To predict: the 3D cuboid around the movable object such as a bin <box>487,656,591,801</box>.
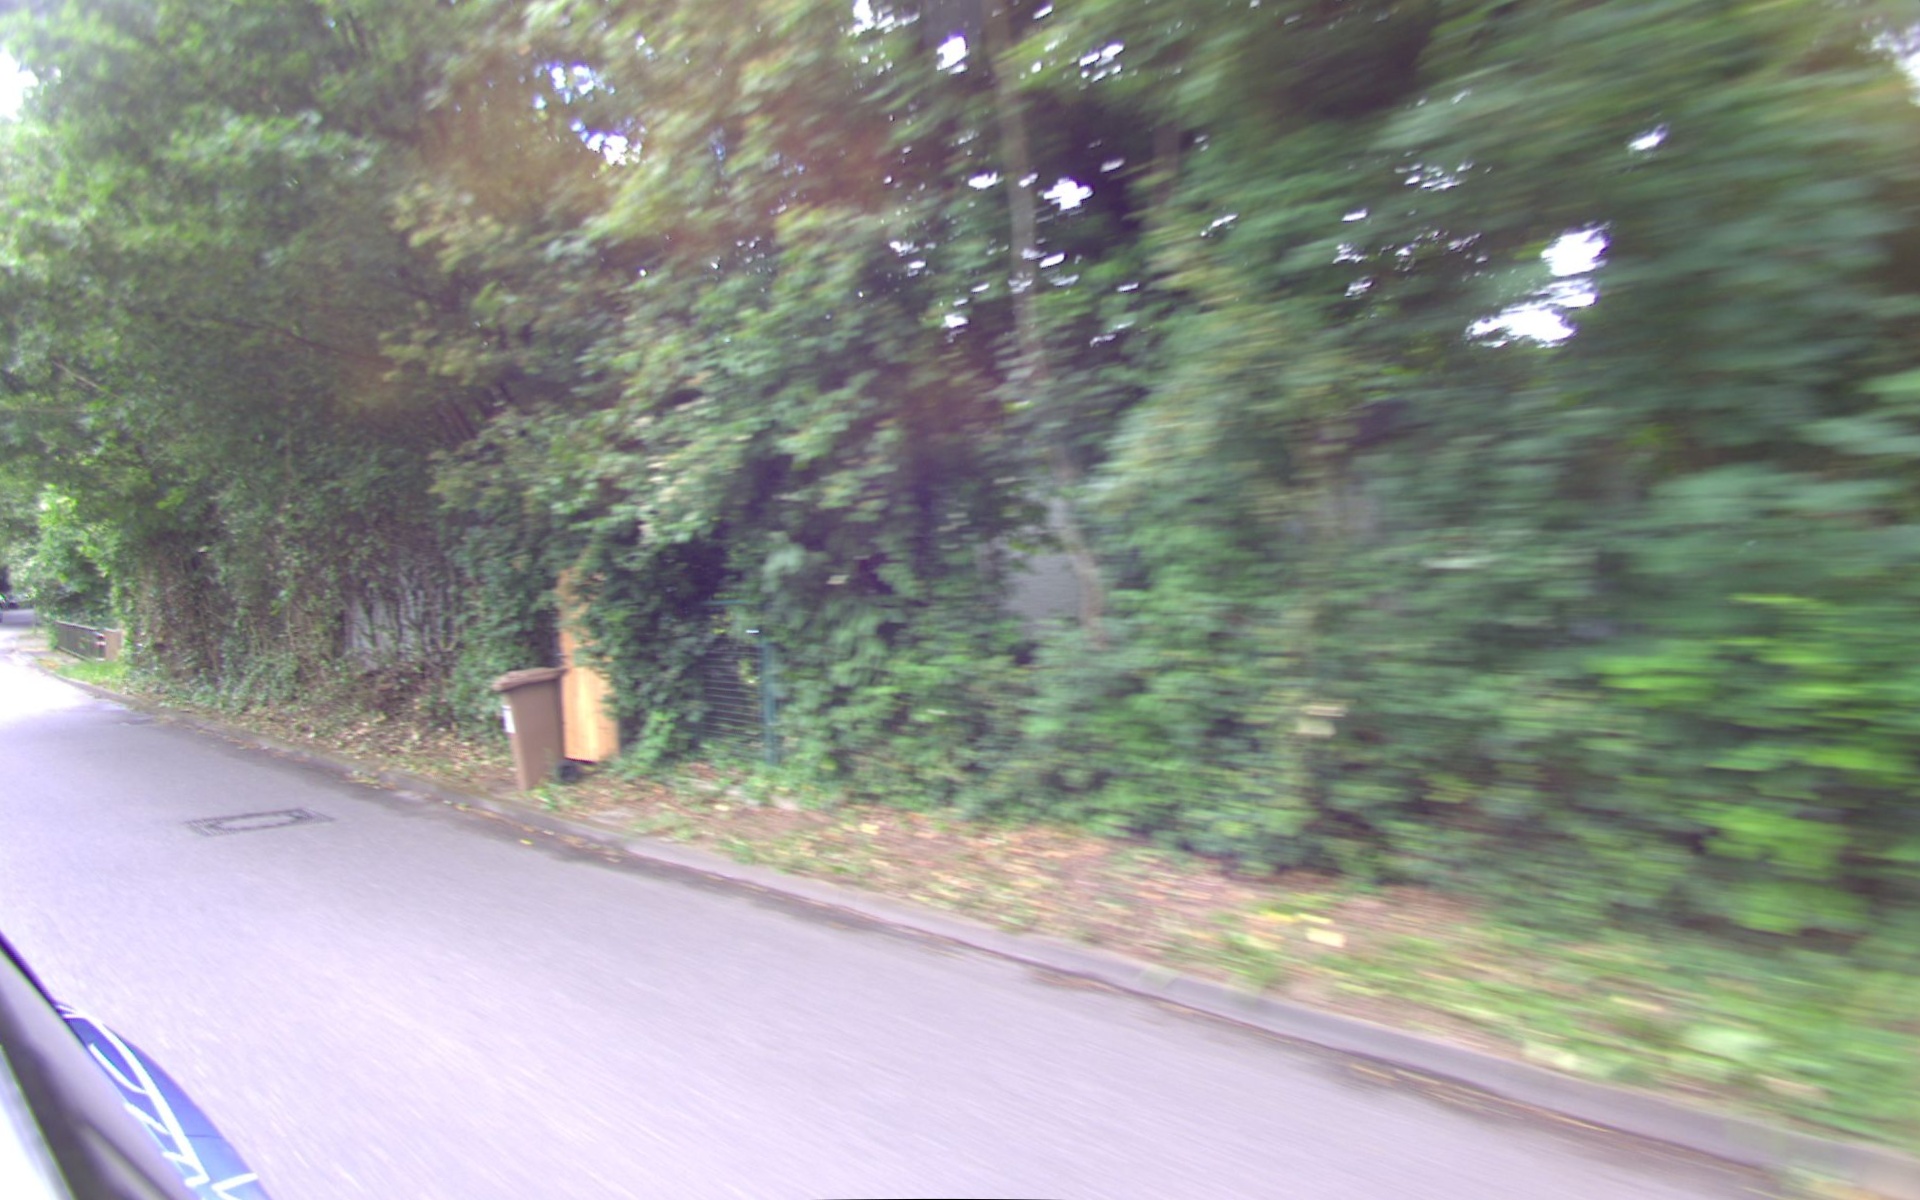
[{"bbox_3d":[-3.291,0.972,7.899,0.640,1.020,0.633,0,0,-34],"label":"movable object such as a bin"}]
